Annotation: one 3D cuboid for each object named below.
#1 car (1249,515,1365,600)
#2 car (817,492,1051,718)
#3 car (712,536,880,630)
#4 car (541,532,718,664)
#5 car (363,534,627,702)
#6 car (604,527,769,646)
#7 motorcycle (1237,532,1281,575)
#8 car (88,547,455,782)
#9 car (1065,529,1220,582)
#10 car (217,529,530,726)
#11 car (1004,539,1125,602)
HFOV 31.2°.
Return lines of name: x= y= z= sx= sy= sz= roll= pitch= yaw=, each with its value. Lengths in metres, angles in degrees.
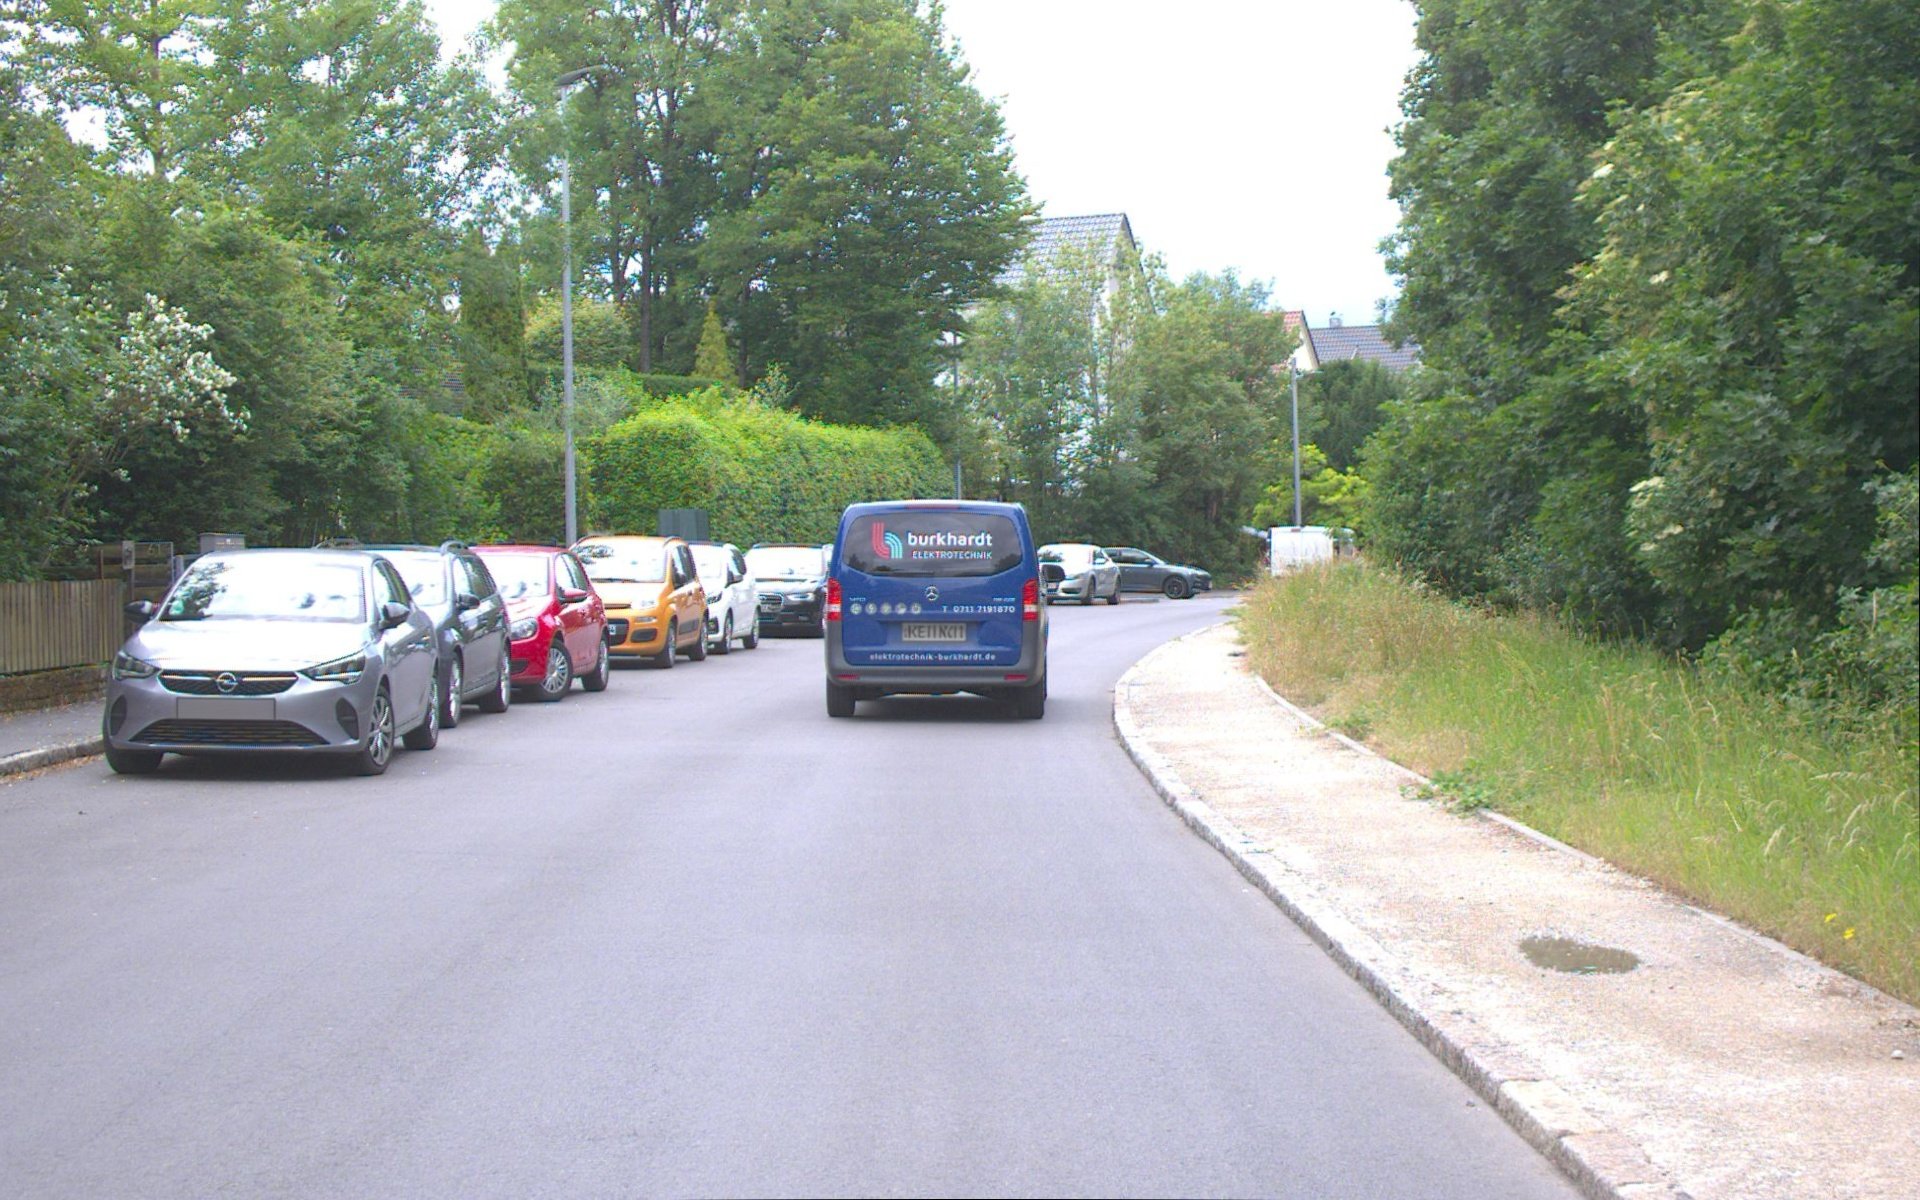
car: x=8.778 y=-1.081 z=86.479 sx=2.207 sy=2.056 sz=6.131 roll=0 pitch=1 yaw=12
car: x=-0.308 y=-0.003 z=30.790 sx=1.936 sy=1.873 sz=4.531 roll=0 pitch=1 yaw=-2
car: x=-2.496 y=-0.295 z=53.423 sx=1.719 sy=1.380 sz=4.662 roll=0 pitch=1 yaw=9
car: x=-3.922 y=-0.058 z=41.283 sx=1.544 sy=1.509 sz=3.644 roll=0 pitch=1 yaw=4
car: x=-4.436 y=0.124 z=33.363 sx=1.707 sy=1.509 sz=4.363 roll=0 pitch=1 yaw=4
car: x=-3.609 y=-0.210 z=45.876 sx=1.588 sy=1.509 sz=3.590 roll=0 pitch=1 yaw=6
motorcycle: x=10.379 y=-1.612 z=119.316 sx=0.810 sy=1.480 sz=2.893 roll=1 pitch=1 yaw=19
car: x=-4.504 y=0.361 z=23.038 sx=1.707 sy=1.405 sz=4.161 roll=0 pitch=1 yaw=-1
car: x=5.149 y=-1.243 z=96.754 sx=4.168 sy=1.442 sz=1.740 roll=1 pitch=0 yaw=9
car: x=-4.781 y=0.165 z=28.617 sx=1.707 sy=1.509 sz=4.495 roll=0 pitch=1 yaw=2
car: x=2.424 y=-0.694 z=78.779 sx=1.832 sy=1.369 sz=4.442 roll=1 pitch=1 yaw=14
